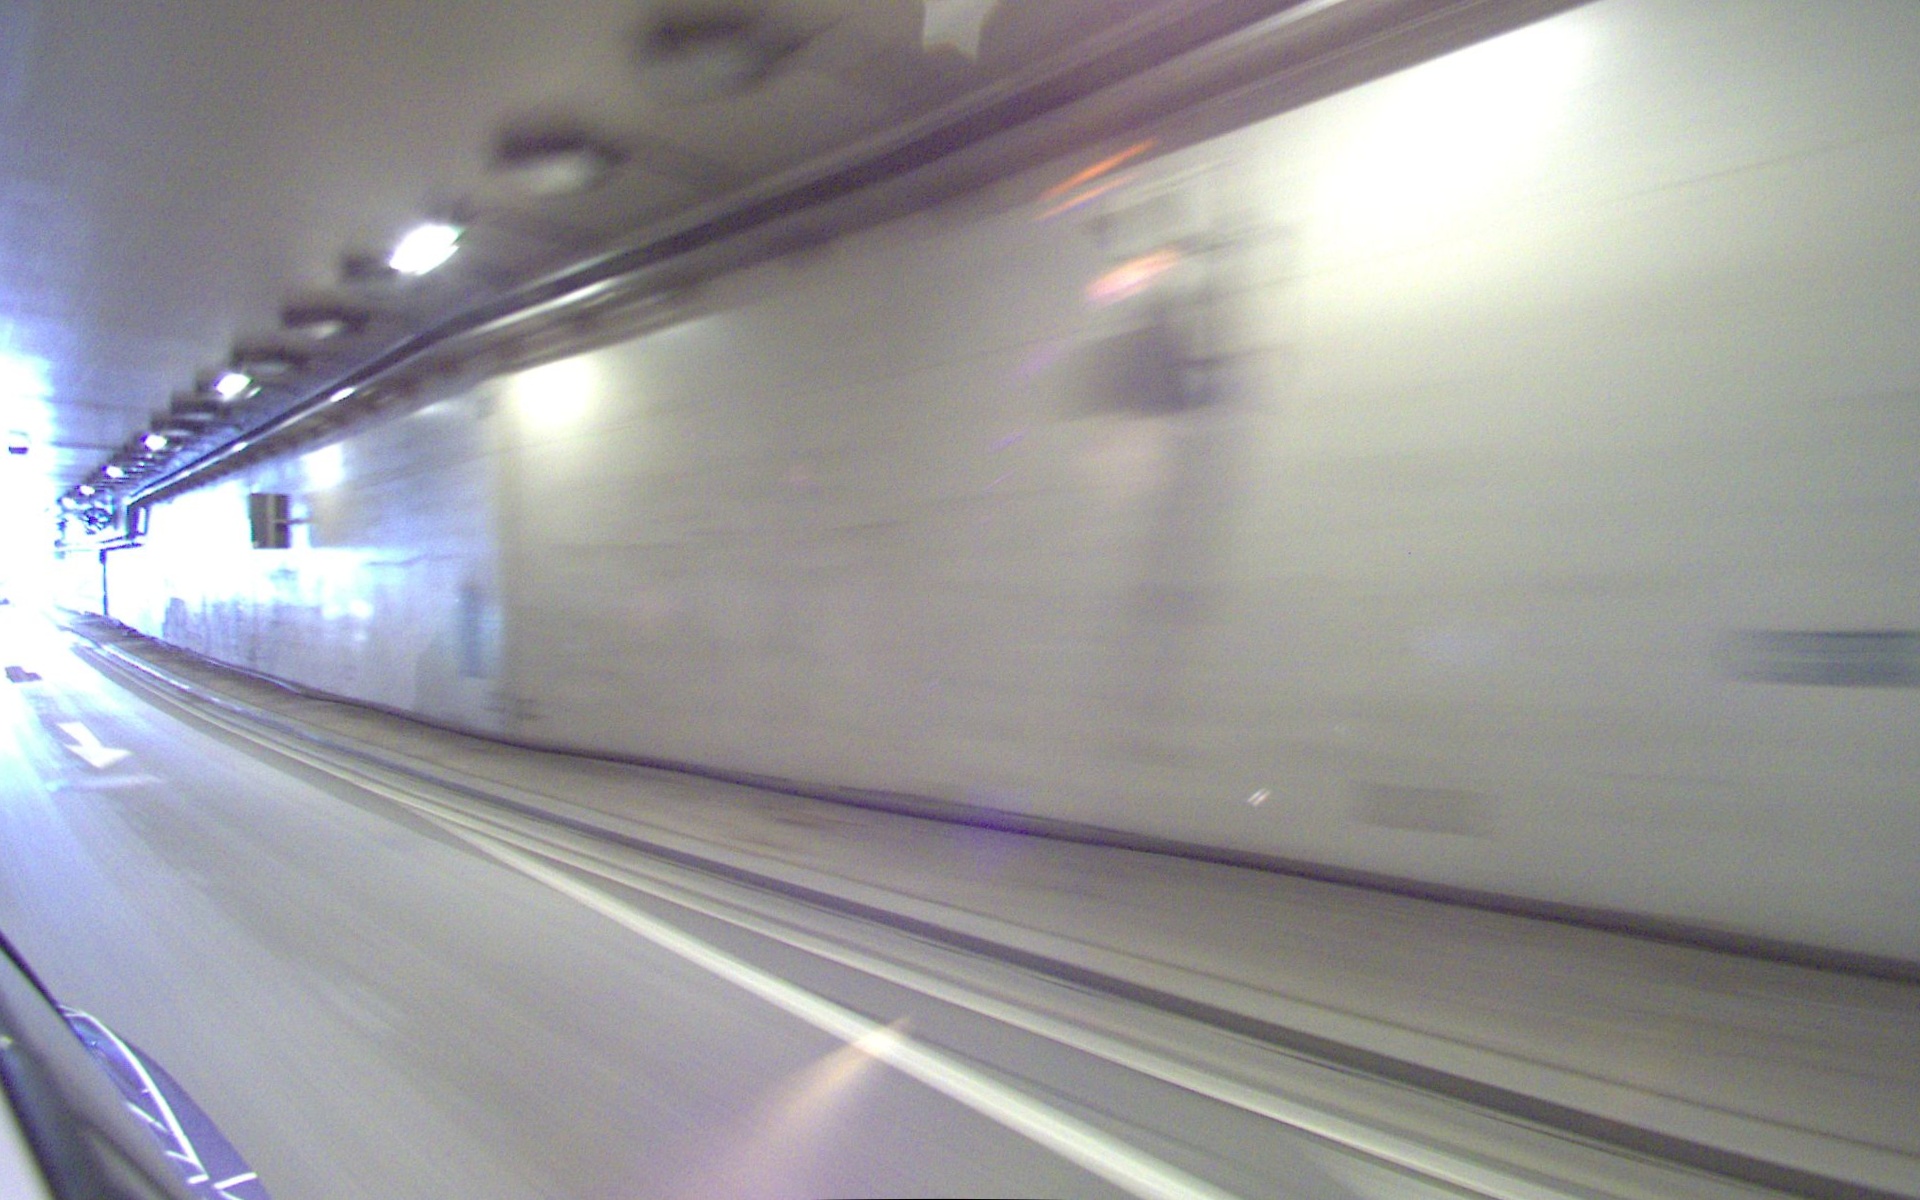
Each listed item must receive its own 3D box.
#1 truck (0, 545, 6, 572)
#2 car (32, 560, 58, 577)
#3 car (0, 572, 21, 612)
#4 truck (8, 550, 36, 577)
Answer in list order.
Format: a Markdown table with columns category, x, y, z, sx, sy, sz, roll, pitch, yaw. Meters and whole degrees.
| category | x | y | z | sx | sy | sz | roll | pitch | yaw |
| --- | --- | --- | --- | --- | --- | --- | --- | --- | --- |
| truck | -114.832 | -4.926 | 119.863 | 2.458 | 3.161 | 6.385 | -4 | 5 | -42 |
| car | -98.487 | -3.382 | 108.932 | 1.923 | 1.544 | 4.005 | -4 | 7 | -43 |
| car | -49.503 | -0.396 | 51.848 | 1.908 | 1.943 | 4.202 | -4 | 4 | -42 |
| truck | -103.892 | -4.079 | 112.077 | 2.108 | 2.748 | 5.679 | -4 | 5 | -42 |
